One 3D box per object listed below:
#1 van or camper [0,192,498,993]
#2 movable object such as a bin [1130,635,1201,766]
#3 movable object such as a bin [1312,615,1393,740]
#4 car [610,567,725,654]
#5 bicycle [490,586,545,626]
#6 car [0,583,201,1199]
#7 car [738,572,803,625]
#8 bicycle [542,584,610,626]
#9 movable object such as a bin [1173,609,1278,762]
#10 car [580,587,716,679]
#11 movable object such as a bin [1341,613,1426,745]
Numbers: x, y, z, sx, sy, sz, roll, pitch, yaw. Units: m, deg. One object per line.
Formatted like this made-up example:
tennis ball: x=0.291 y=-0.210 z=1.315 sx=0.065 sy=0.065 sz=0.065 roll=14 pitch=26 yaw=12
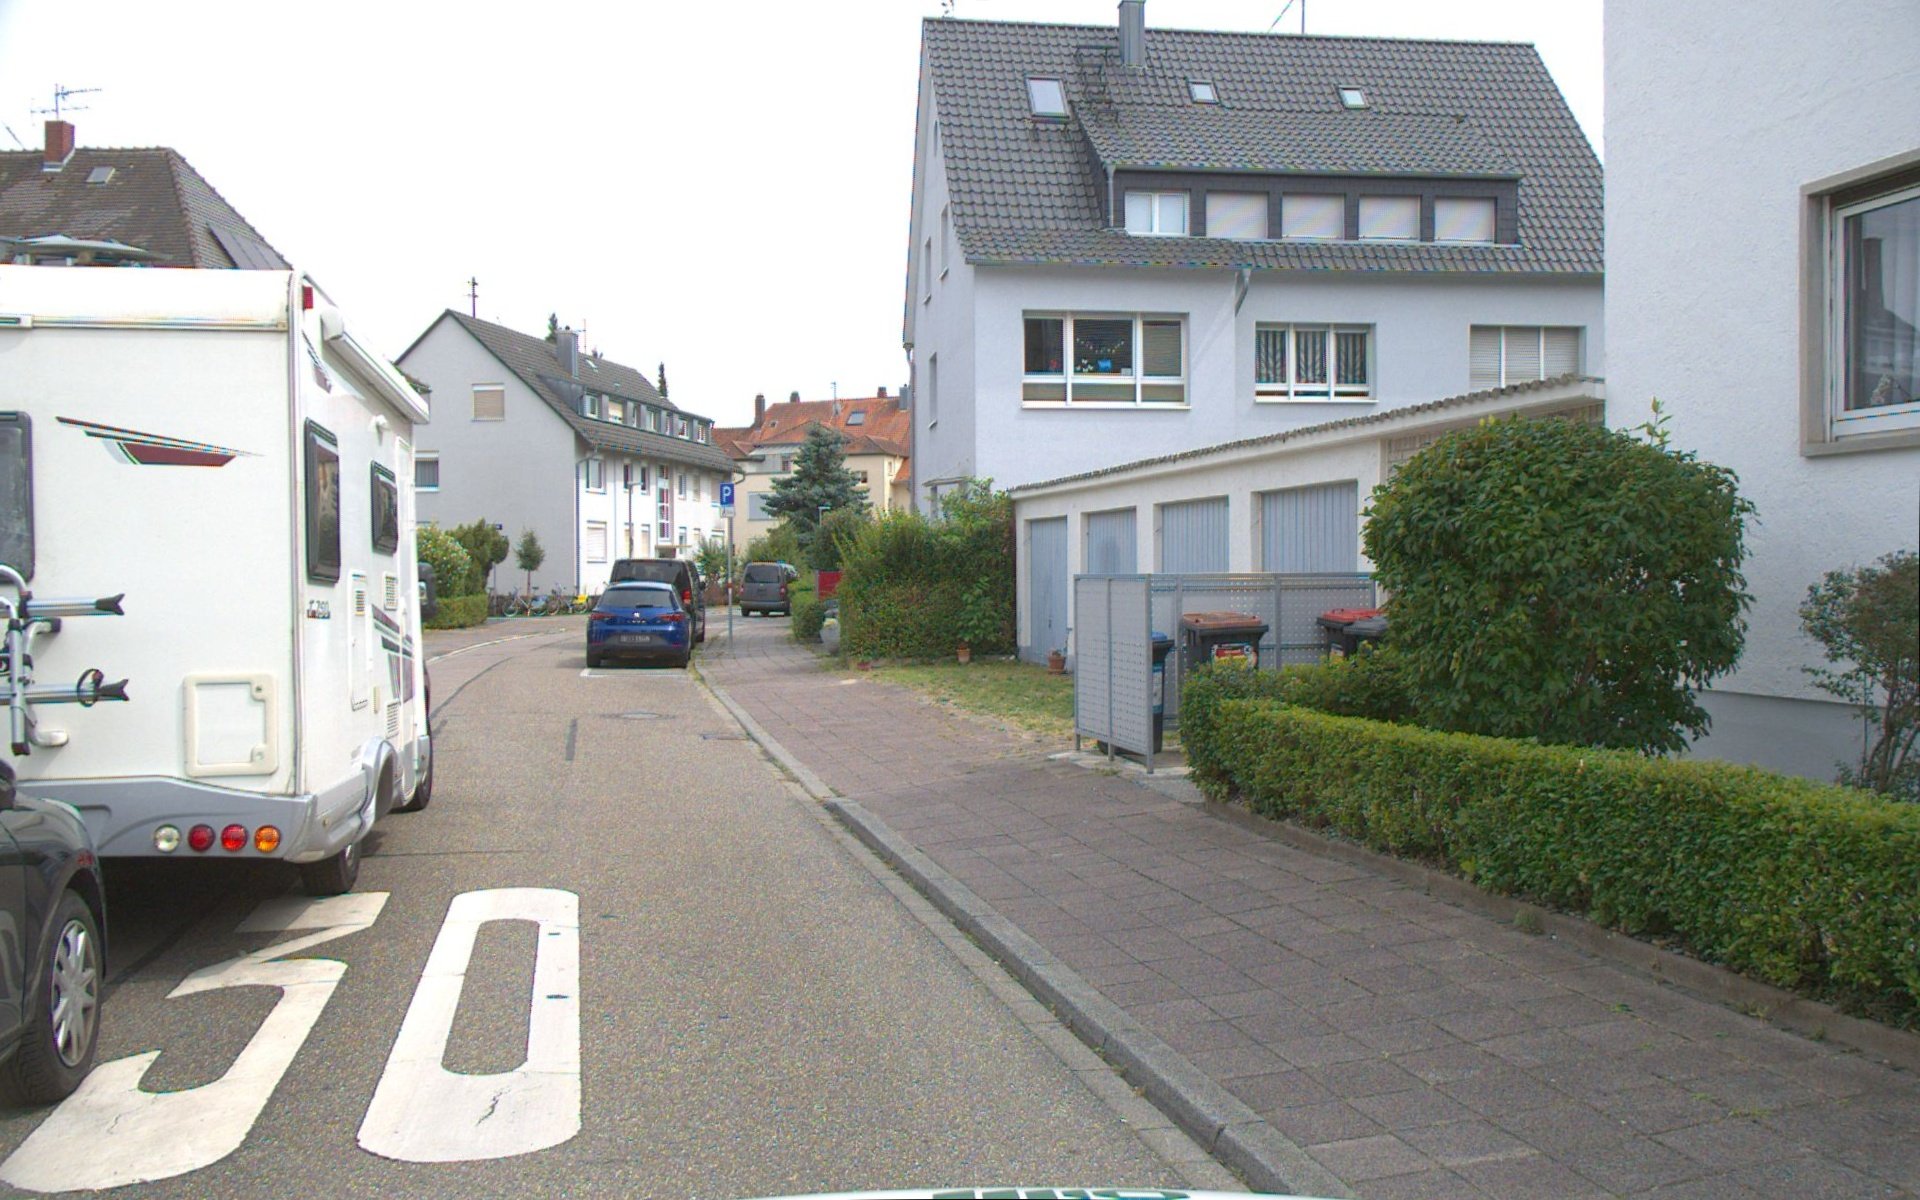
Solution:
van or camper: x=-4.003 y=0.035 z=8.723 sx=2.360 sy=2.773 sz=6.147 roll=-1 pitch=-1 yaw=-10
movable object such as a bin: x=1.594 y=0.772 z=12.877 sx=0.383 sy=0.990 sz=0.513 roll=-1 pitch=-1 yaw=-13
movable object such as a bin: x=3.179 y=0.620 z=13.424 sx=0.445 sy=0.990 sz=0.505 roll=-1 pitch=-1 yaw=-12
car: x=-6.378 y=0.255 z=36.461 sx=1.816 sy=1.773 sz=4.345 roll=-1 pitch=-1 yaw=-1
bicycle: x=-15.785 y=0.201 z=58.966 sx=1.810 sy=1.397 sz=0.665 roll=-1 pitch=-1 yaw=-25
car: x=-2.999 y=0.690 z=3.418 sx=1.628 sy=1.447 sz=3.759 roll=-1 pitch=-1 yaw=-9
car: x=-6.631 y=-0.014 z=58.295 sx=1.816 sy=1.773 sz=4.345 roll=-1 pitch=-1 yaw=-1
bicycle: x=-13.956 y=0.183 z=60.134 sx=2.326 sy=1.486 sz=0.710 roll=0 pitch=-1 yaw=-35
movable object such as a bin: x=2.095 y=0.663 z=13.099 sx=0.569 sy=1.157 sz=0.752 roll=-1 pitch=-1 yaw=-13
car: x=-5.442 y=0.580 z=29.319 sx=1.687 sy=1.477 sz=3.999 roll=-1 pitch=-1 yaw=-1
movable object such as a bin: x=3.281 y=0.604 z=12.839 sx=0.445 sy=0.990 sz=0.505 roll=-1 pitch=-1 yaw=-12
